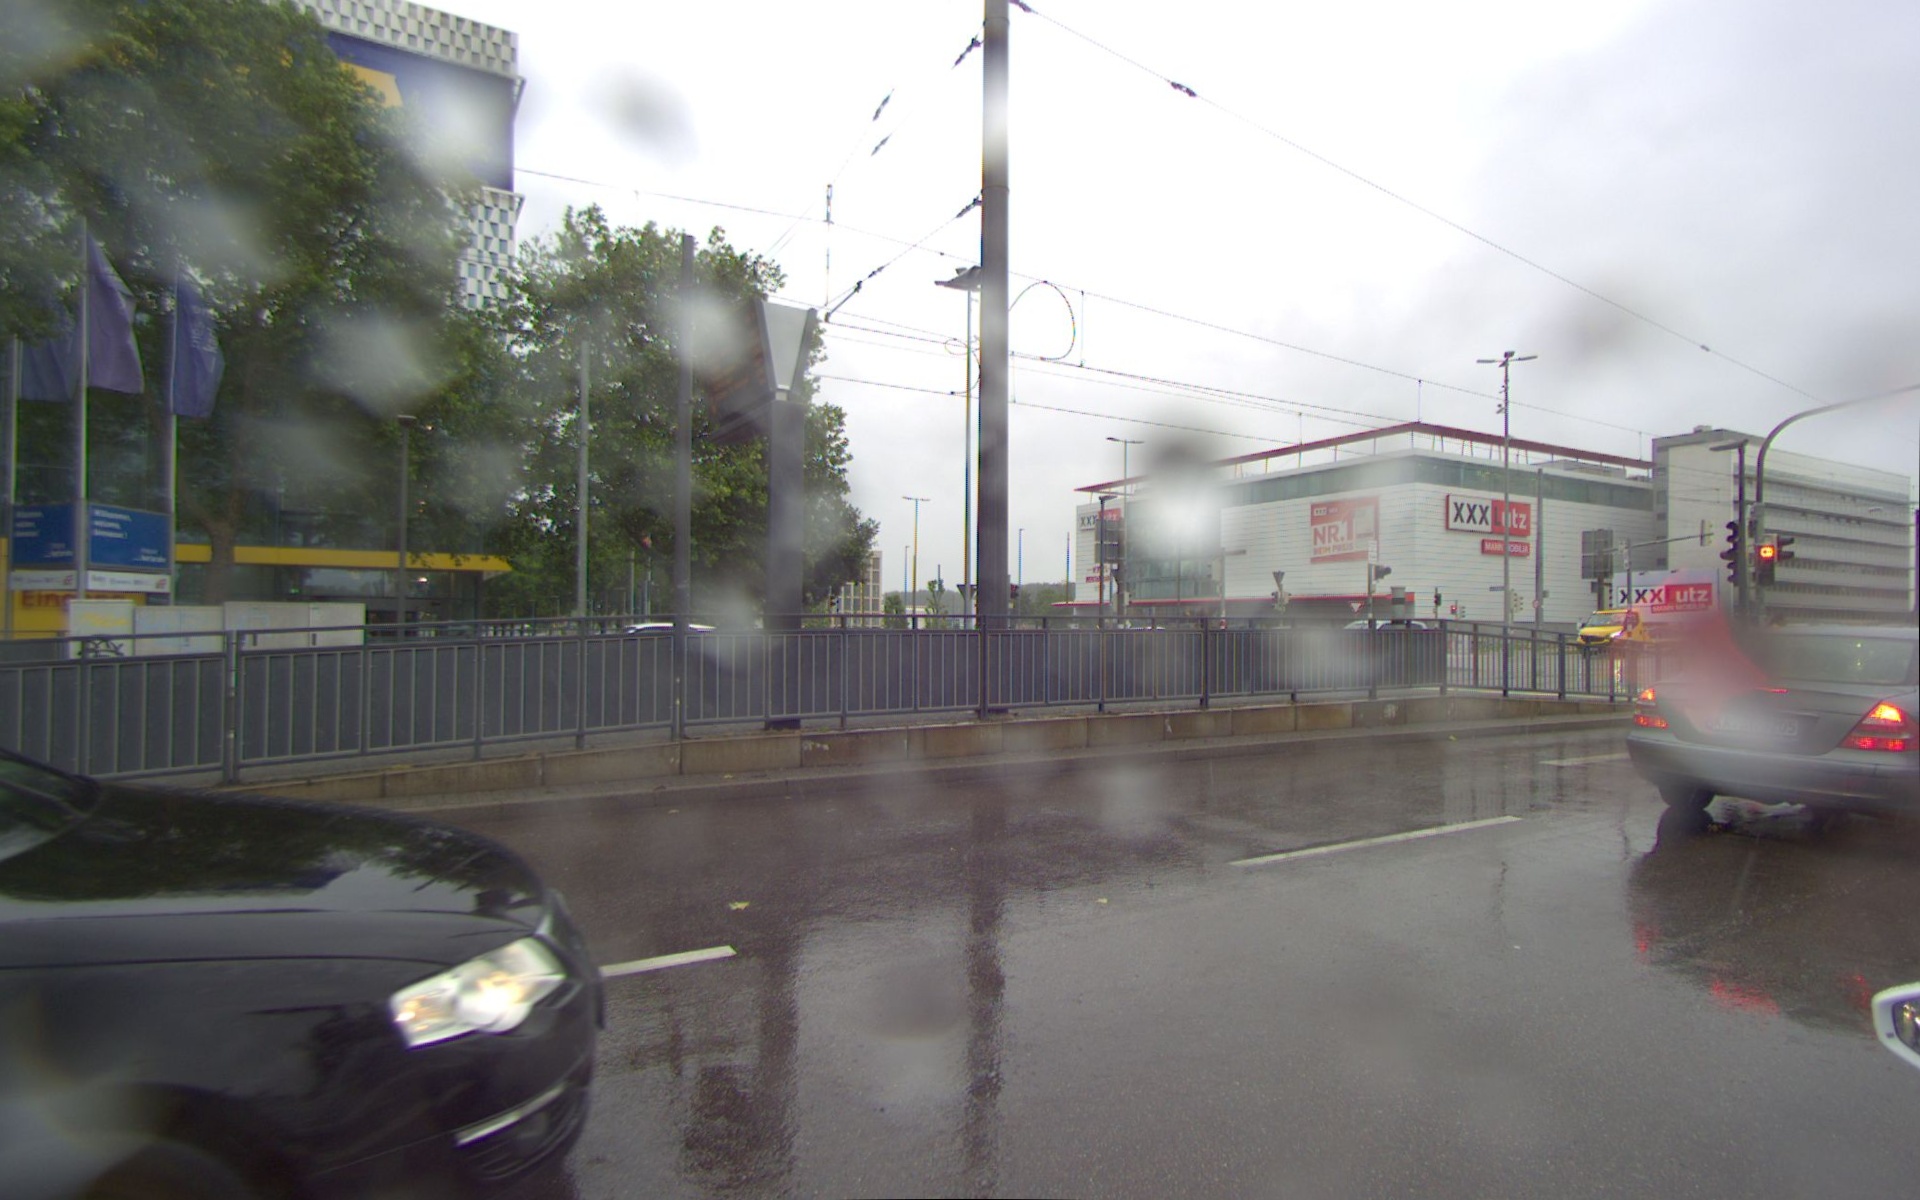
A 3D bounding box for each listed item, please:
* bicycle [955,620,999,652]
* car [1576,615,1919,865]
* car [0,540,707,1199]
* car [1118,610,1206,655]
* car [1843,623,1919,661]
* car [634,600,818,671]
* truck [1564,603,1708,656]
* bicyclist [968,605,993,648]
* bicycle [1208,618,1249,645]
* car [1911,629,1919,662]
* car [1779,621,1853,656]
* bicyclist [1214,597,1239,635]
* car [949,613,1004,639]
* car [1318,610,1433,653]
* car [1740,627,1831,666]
[{"bbox_3d":[0.581,1.228,34.112,1.493,1.075,0.408,2,0,-33],"label":"bicycle"},{"bbox_3d":[6.960,0.906,7.792,4.591,1.417,1.754,2,0,-30],"label":"car"},{"bbox_3d":[-2.903,0.632,1.603,4.541,1.521,1.764,2,0,-29],"label":"car"},{"bbox_3d":[10.024,1.587,50.192,1.976,2.040,4.295,2,0,-29],"label":"car"},{"bbox_3d":[49.117,2.235,53.536,3.952,1.821,1.838,4,-2,-29],"label":"car"},{"bbox_3d":[-5.420,0.828,23.320,3.830,1.512,1.690,2,0,-30],"label":"car"},{"bbox_3d":[32.029,1.409,47.491,7.536,2.309,2.342,2,0,-28],"label":"truck"},{"bbox_3d":[0.698,0.902,34.149,0.643,1.418,0.529,2,0,-33],"label":"bicyclist"},{"bbox_3d":[10.524,1.234,39.376,1.688,1.000,0.448,2,0,-30],"label":"bicycle"},{"bbox_3d":[56.239,2.635,57.041,3.947,1.851,1.923,2,0,-26],"label":"car"},{"bbox_3d":[47.802,2.158,56.096,3.488,1.682,1.726,4,-1,-23],"label":"car"},{"bbox_3d":[10.429,0.622,39.317,0.639,1.483,0.681,2,0,-29],"label":"bicyclist"},{"bbox_3d":[1.157,1.784,70.247,3.723,1.645,2.001,2,0,2],"label":"car"},{"bbox_3d":[14.525,1.101,35.086,3.780,1.354,1.582,2,0,-26],"label":"car"},{"bbox_3d":[39.493,2.231,48.059,3.947,1.722,1.886,2,0,-26],"label":"car"}]
